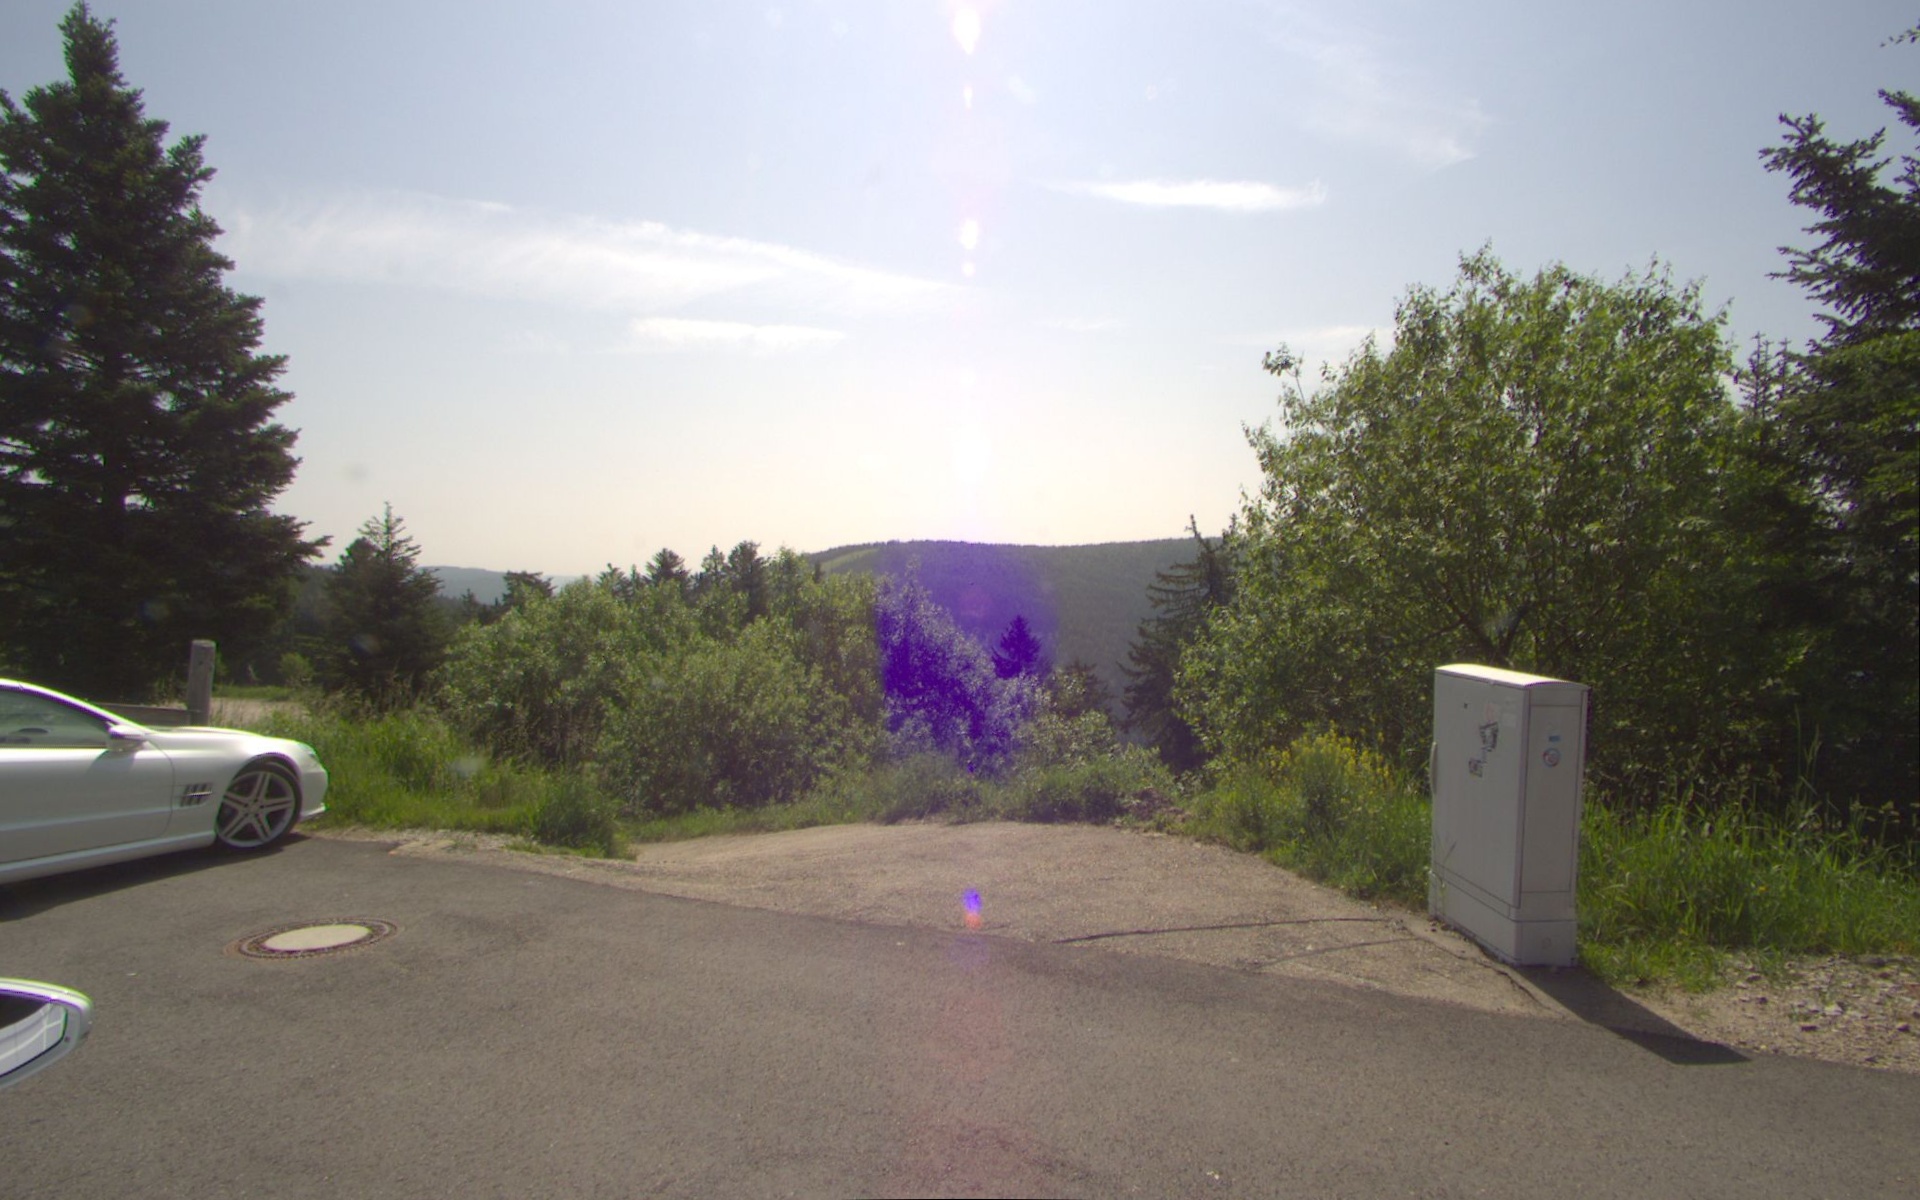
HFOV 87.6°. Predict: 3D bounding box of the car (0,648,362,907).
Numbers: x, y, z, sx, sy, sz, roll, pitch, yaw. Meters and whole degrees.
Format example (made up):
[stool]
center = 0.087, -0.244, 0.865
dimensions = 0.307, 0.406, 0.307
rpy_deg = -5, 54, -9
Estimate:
[car]
center = -5.844, 0.959, 5.784
dimensions = 1.722, 1.312, 4.415
rpy_deg = 1, -3, 7
